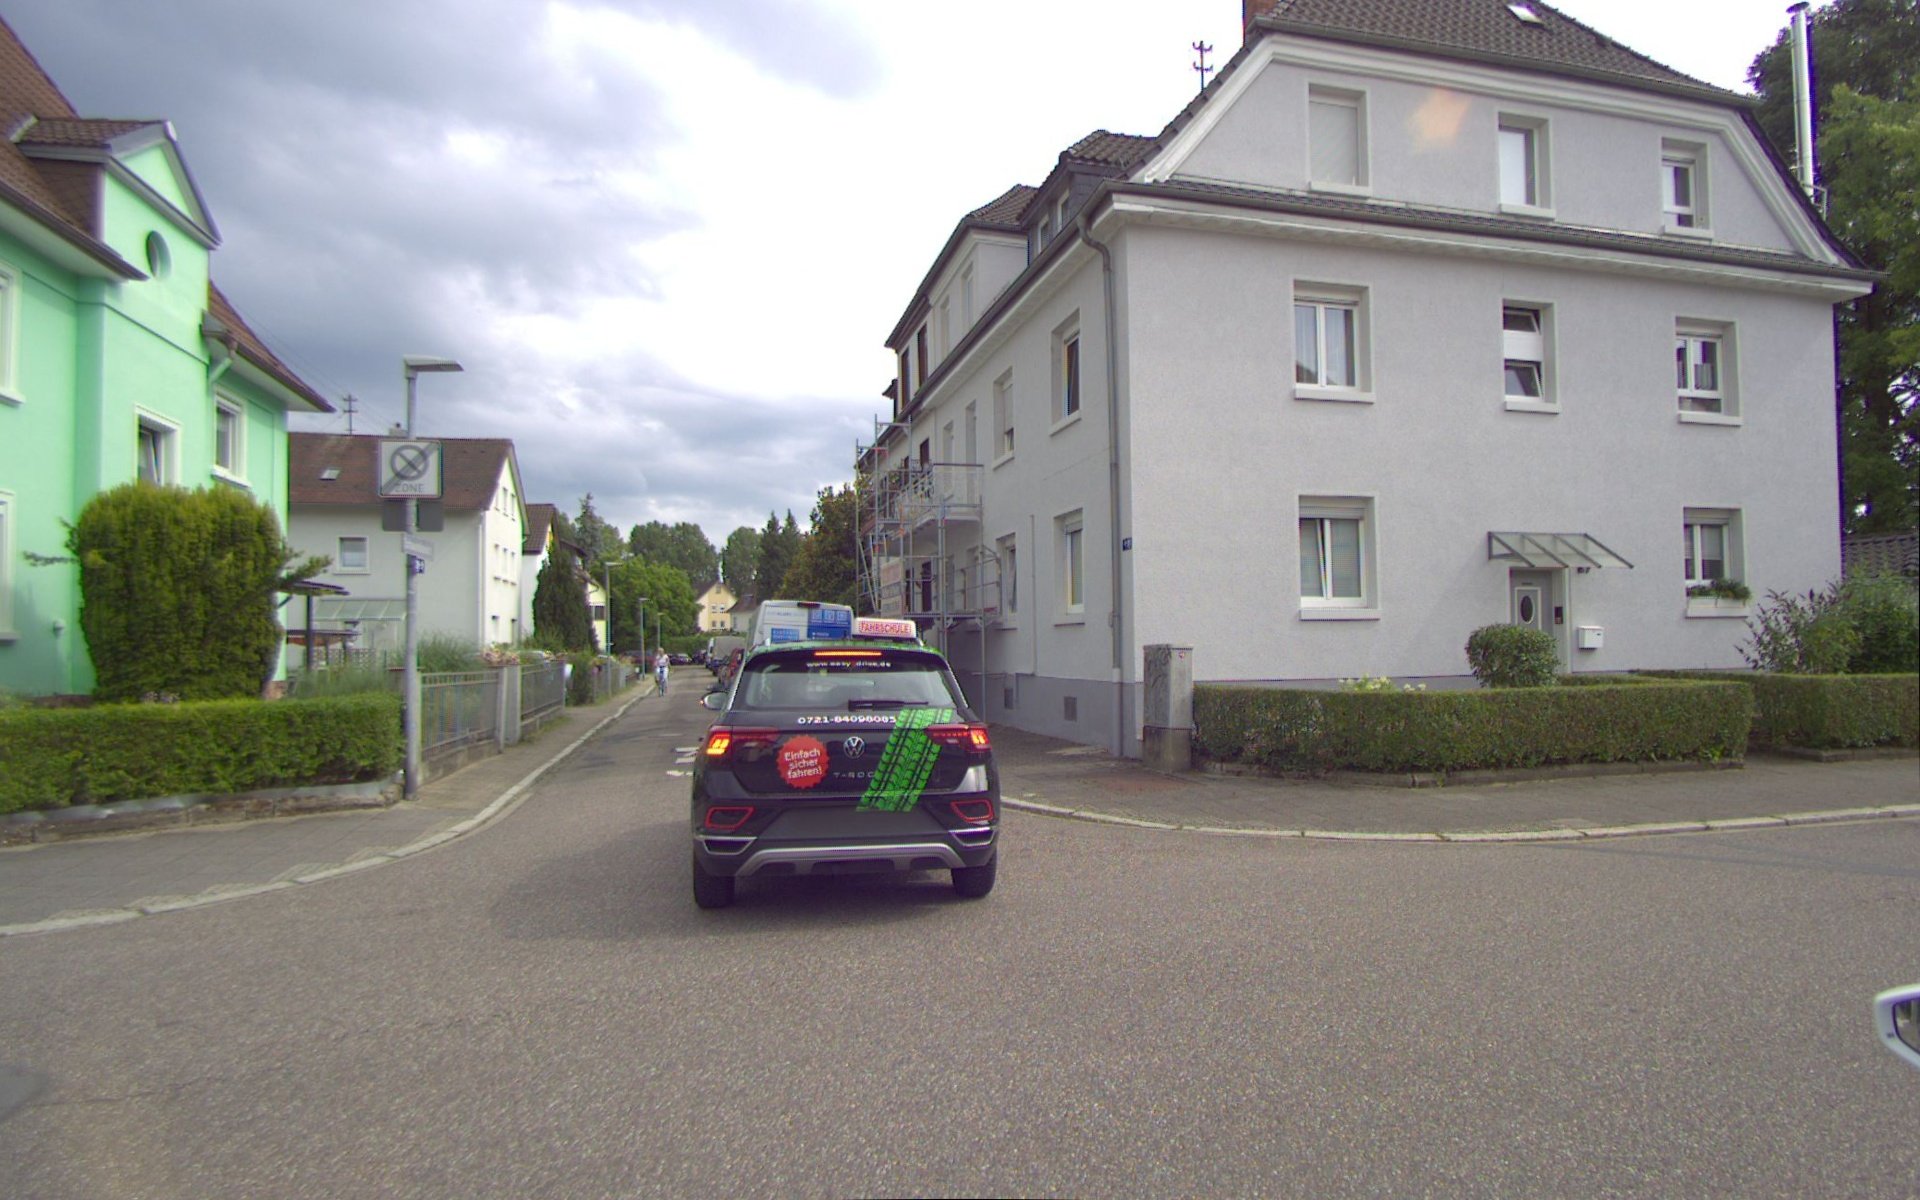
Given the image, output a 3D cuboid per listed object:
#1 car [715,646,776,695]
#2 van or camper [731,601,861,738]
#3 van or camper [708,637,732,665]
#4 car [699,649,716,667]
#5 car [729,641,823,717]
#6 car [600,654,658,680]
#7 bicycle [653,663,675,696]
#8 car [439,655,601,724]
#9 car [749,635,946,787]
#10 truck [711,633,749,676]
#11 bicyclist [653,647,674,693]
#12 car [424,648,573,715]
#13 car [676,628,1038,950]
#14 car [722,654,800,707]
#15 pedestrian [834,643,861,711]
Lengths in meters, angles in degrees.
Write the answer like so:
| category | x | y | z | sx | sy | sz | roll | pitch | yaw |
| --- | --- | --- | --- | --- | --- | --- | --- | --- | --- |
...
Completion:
| category | x | y | z | sx | sy | sz | roll | pitch | yaw |
| --- | --- | --- | --- | --- | --- | --- | --- | --- | --- |
| car | -8.408 | 2.696 | 39.130 | 1.968 | 1.772 | 4.327 | 0 | -2 | -17 |
| van or camper | -3.574 | 1.376 | 21.072 | 2.162 | 2.491 | 5.039 | 0 | -2 | -15 |
| van or camper | -23.279 | 4.957 | 97.327 | 2.112 | 2.574 | 5.001 | 0 | -2 | -15 |
| car | -29.694 | 6.819 | 118.173 | 1.832 | 2.039 | 3.993 | -1 | -4 | -12 |
| car | -4.991 | 2.031 | 26.770 | 1.968 | 1.795 | 4.327 | 0 | -2 | -17 |
| car | -23.815 | 4.828 | 72.335 | 3.939 | 1.794 | 1.863 | 0 | -4 | -20 |
| bicycle | -10.991 | 2.930 | 37.306 | 0.695 | 1.167 | 1.868 | -1 | -2 | -15 |
| car | -10.767 | 2.170 | 24.815 | 3.527 | 1.520 | 1.581 | 0 | -3 | -19 |
| car | -1.751 | 1.403 | 14.124 | 1.968 | 1.749 | 4.327 | 0 | -2 | -17 |
| truck | -15.136 | 3.545 | 65.947 | 2.102 | 2.692 | 4.569 | 0 | -2 | -17 |
| bicyclist | -11.014 | 2.596 | 37.361 | 0.687 | 1.688 | 0.973 | -2 | -2 | -15 |
| car | -12.476 | 2.186 | 27.395 | 3.527 | 1.689 | 1.581 | 0 | -3 | -19 |
| car | -0.837 | 1.040 | 6.996 | 1.789 | 1.539 | 4.037 | 0 | -4 | -10 |
| car | -6.331 | 2.482 | 31.620 | 1.968 | 1.474 | 4.327 | 0 | -2 | -17 |
| pedestrian | -2.806 | 1.909 | 24.968 | 0.592 | 1.650 | 0.624 | -1 | -3 | -12 |
